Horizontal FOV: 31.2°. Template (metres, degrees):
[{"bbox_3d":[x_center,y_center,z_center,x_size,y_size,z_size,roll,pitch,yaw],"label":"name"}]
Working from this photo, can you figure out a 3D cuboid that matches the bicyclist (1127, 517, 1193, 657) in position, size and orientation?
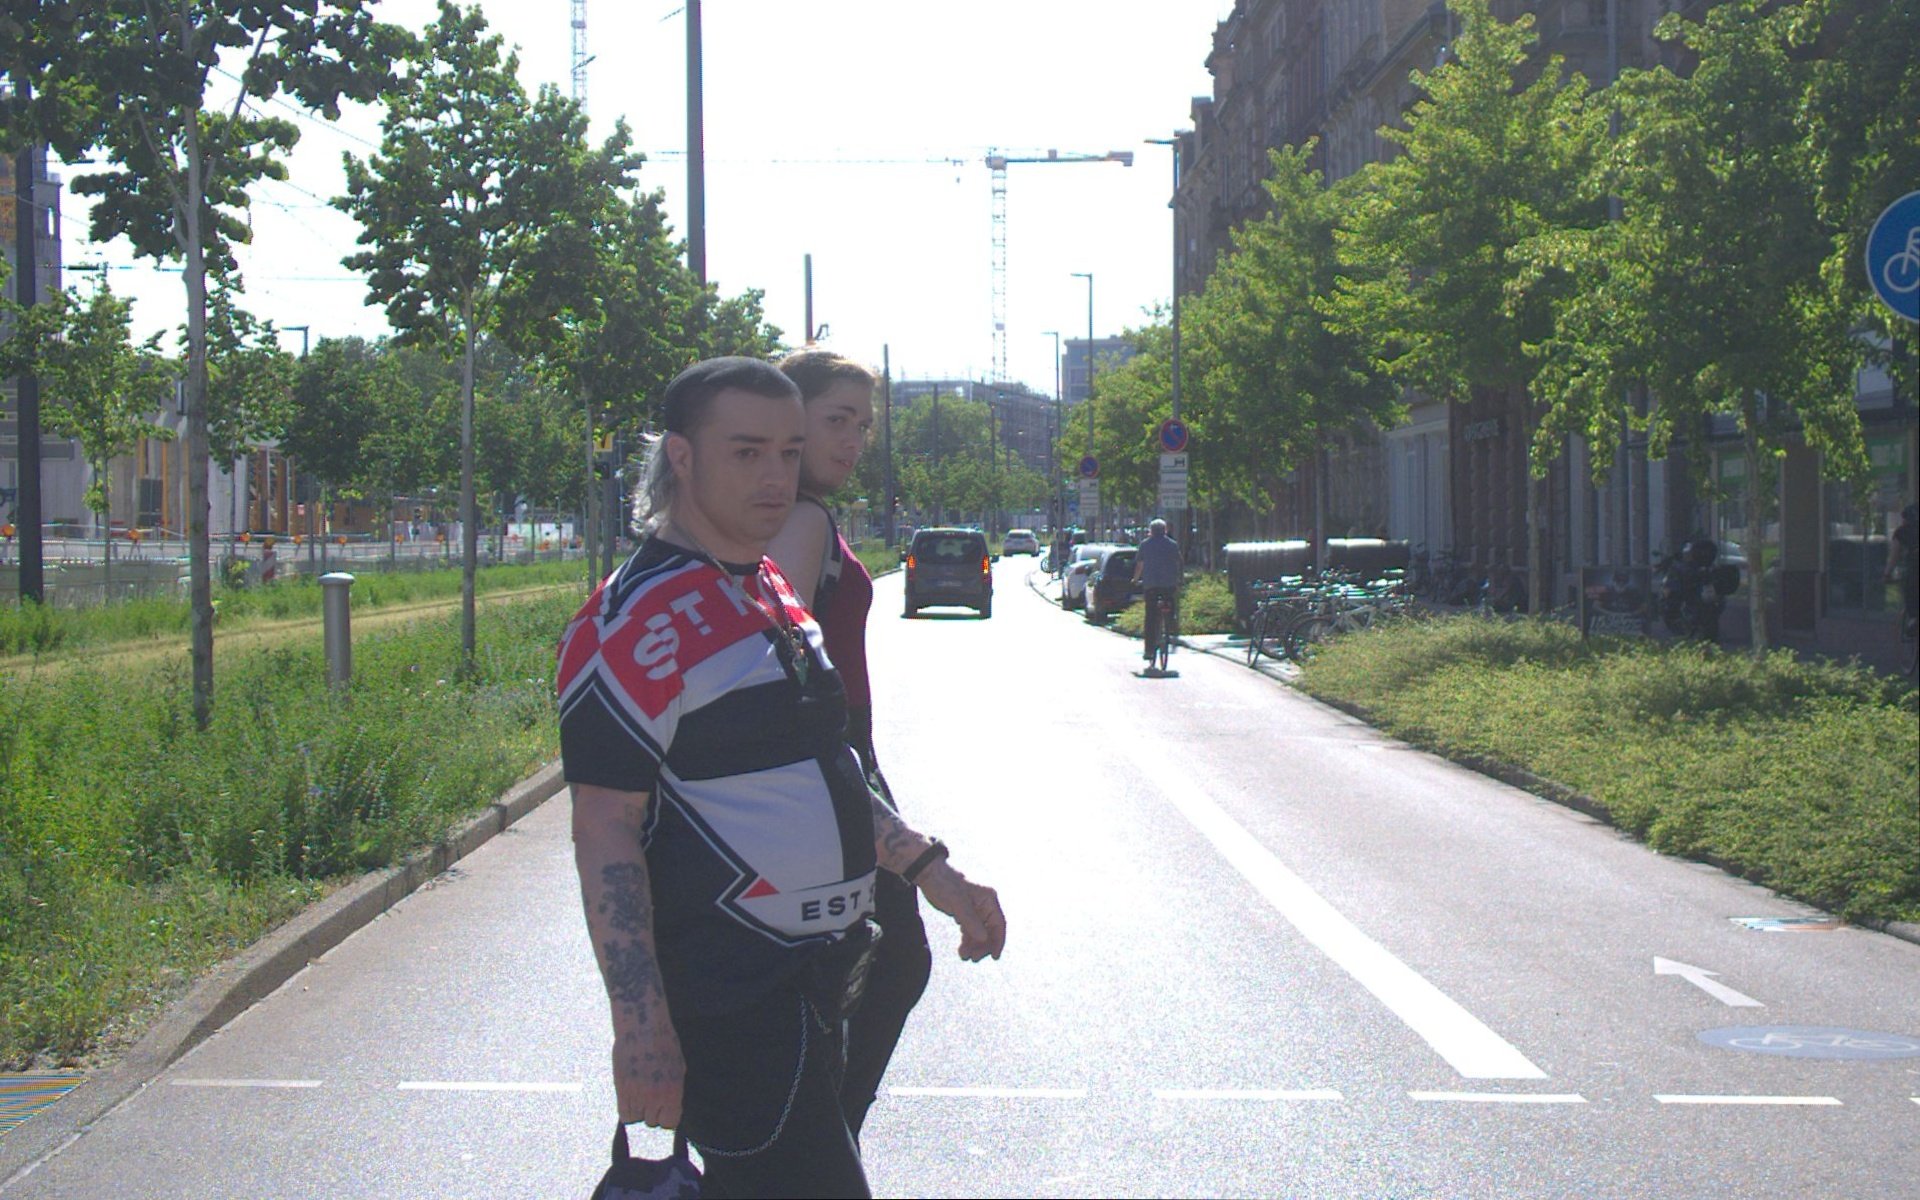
[{"bbox_3d":[2.427,-0.170,41.822,0.684,1.667,0.922,2,1,-1],"label":"bicyclist"}]

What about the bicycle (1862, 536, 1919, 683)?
[{"bbox_3d":[9.312,0.073,33.245,0.615,1.326,1.900,-4,1,1],"label":"bicycle"}]

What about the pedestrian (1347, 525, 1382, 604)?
[{"bbox_3d":[8.273,-0.734,70.275,0.614,1.606,0.669,-1,1,-1],"label":"pedestrian"}]

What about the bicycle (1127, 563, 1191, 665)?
[{"bbox_3d":[2.401,0.156,41.656,0.601,1.177,1.869,2,1,-1],"label":"bicycle"}]

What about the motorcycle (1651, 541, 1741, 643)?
[{"bbox_3d":[9.445,-0.123,44.168,0.700,1.263,1.982,-1,1,-1],"label":"motorcycle"}]

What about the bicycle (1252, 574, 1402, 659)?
[{"bbox_3d":[4.535,0.199,42.535,1.792,1.027,0.527,-1,1,0],"label":"bicycle"}]

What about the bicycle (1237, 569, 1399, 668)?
[{"bbox_3d":[4.260,0.215,40.964,1.792,1.027,0.527,-5,1,0],"label":"bicycle"}]

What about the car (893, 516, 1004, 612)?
[{"bbox_3d":[-0.265,-0.763,71.513,2.200,1.919,4.654,-1,1,-1],"label":"car"}]

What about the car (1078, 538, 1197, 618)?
[{"bbox_3d":[3.438,-0.452,67.375,2.028,1.493,4.654,-1,1,-1],"label":"car"}]

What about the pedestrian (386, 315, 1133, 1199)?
[{"bbox_3d":[-0.292,0.555,4.515,0.865,1.782,0.971,1,1,-7],"label":"pedestrian"}]

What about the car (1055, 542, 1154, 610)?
[{"bbox_3d":[3.328,-0.577,79.783,2.028,1.493,4.530,-1,1,-1],"label":"car"}]

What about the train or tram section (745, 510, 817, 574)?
[{"bbox_3d":[-7.992,-2.586,154.417,2.756,2.733,9.864,1,1,-1],"label":"train or tram section"}]

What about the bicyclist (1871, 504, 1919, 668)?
[{"bbox_3d":[9.281,-0.152,33.179,0.660,1.525,0.801,-4,1,1],"label":"bicyclist"}]

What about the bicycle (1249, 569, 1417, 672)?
[{"bbox_3d":[4.281,0.230,39.529,1.792,1.027,0.527,-5,1,0],"label":"bicycle"}]

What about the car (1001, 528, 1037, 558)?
[{"bbox_3d":[3.538,-3.408,206.289,1.993,1.723,4.000,1,0,-1],"label":"car"}]

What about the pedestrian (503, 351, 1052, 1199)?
[{"bbox_3d":[-0.395,0.452,7.161,1.075,1.902,0.653,-1,1,-7],"label":"pedestrian"}]

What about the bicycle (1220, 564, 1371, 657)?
[{"bbox_3d":[4.280,0.129,43.910,1.792,1.027,0.527,-5,1,0],"label":"bicycle"}]

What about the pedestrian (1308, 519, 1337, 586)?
[{"bbox_3d":[8.855,-1.162,84.066,0.614,1.606,0.669,-1,1,-1],"label":"pedestrian"}]
